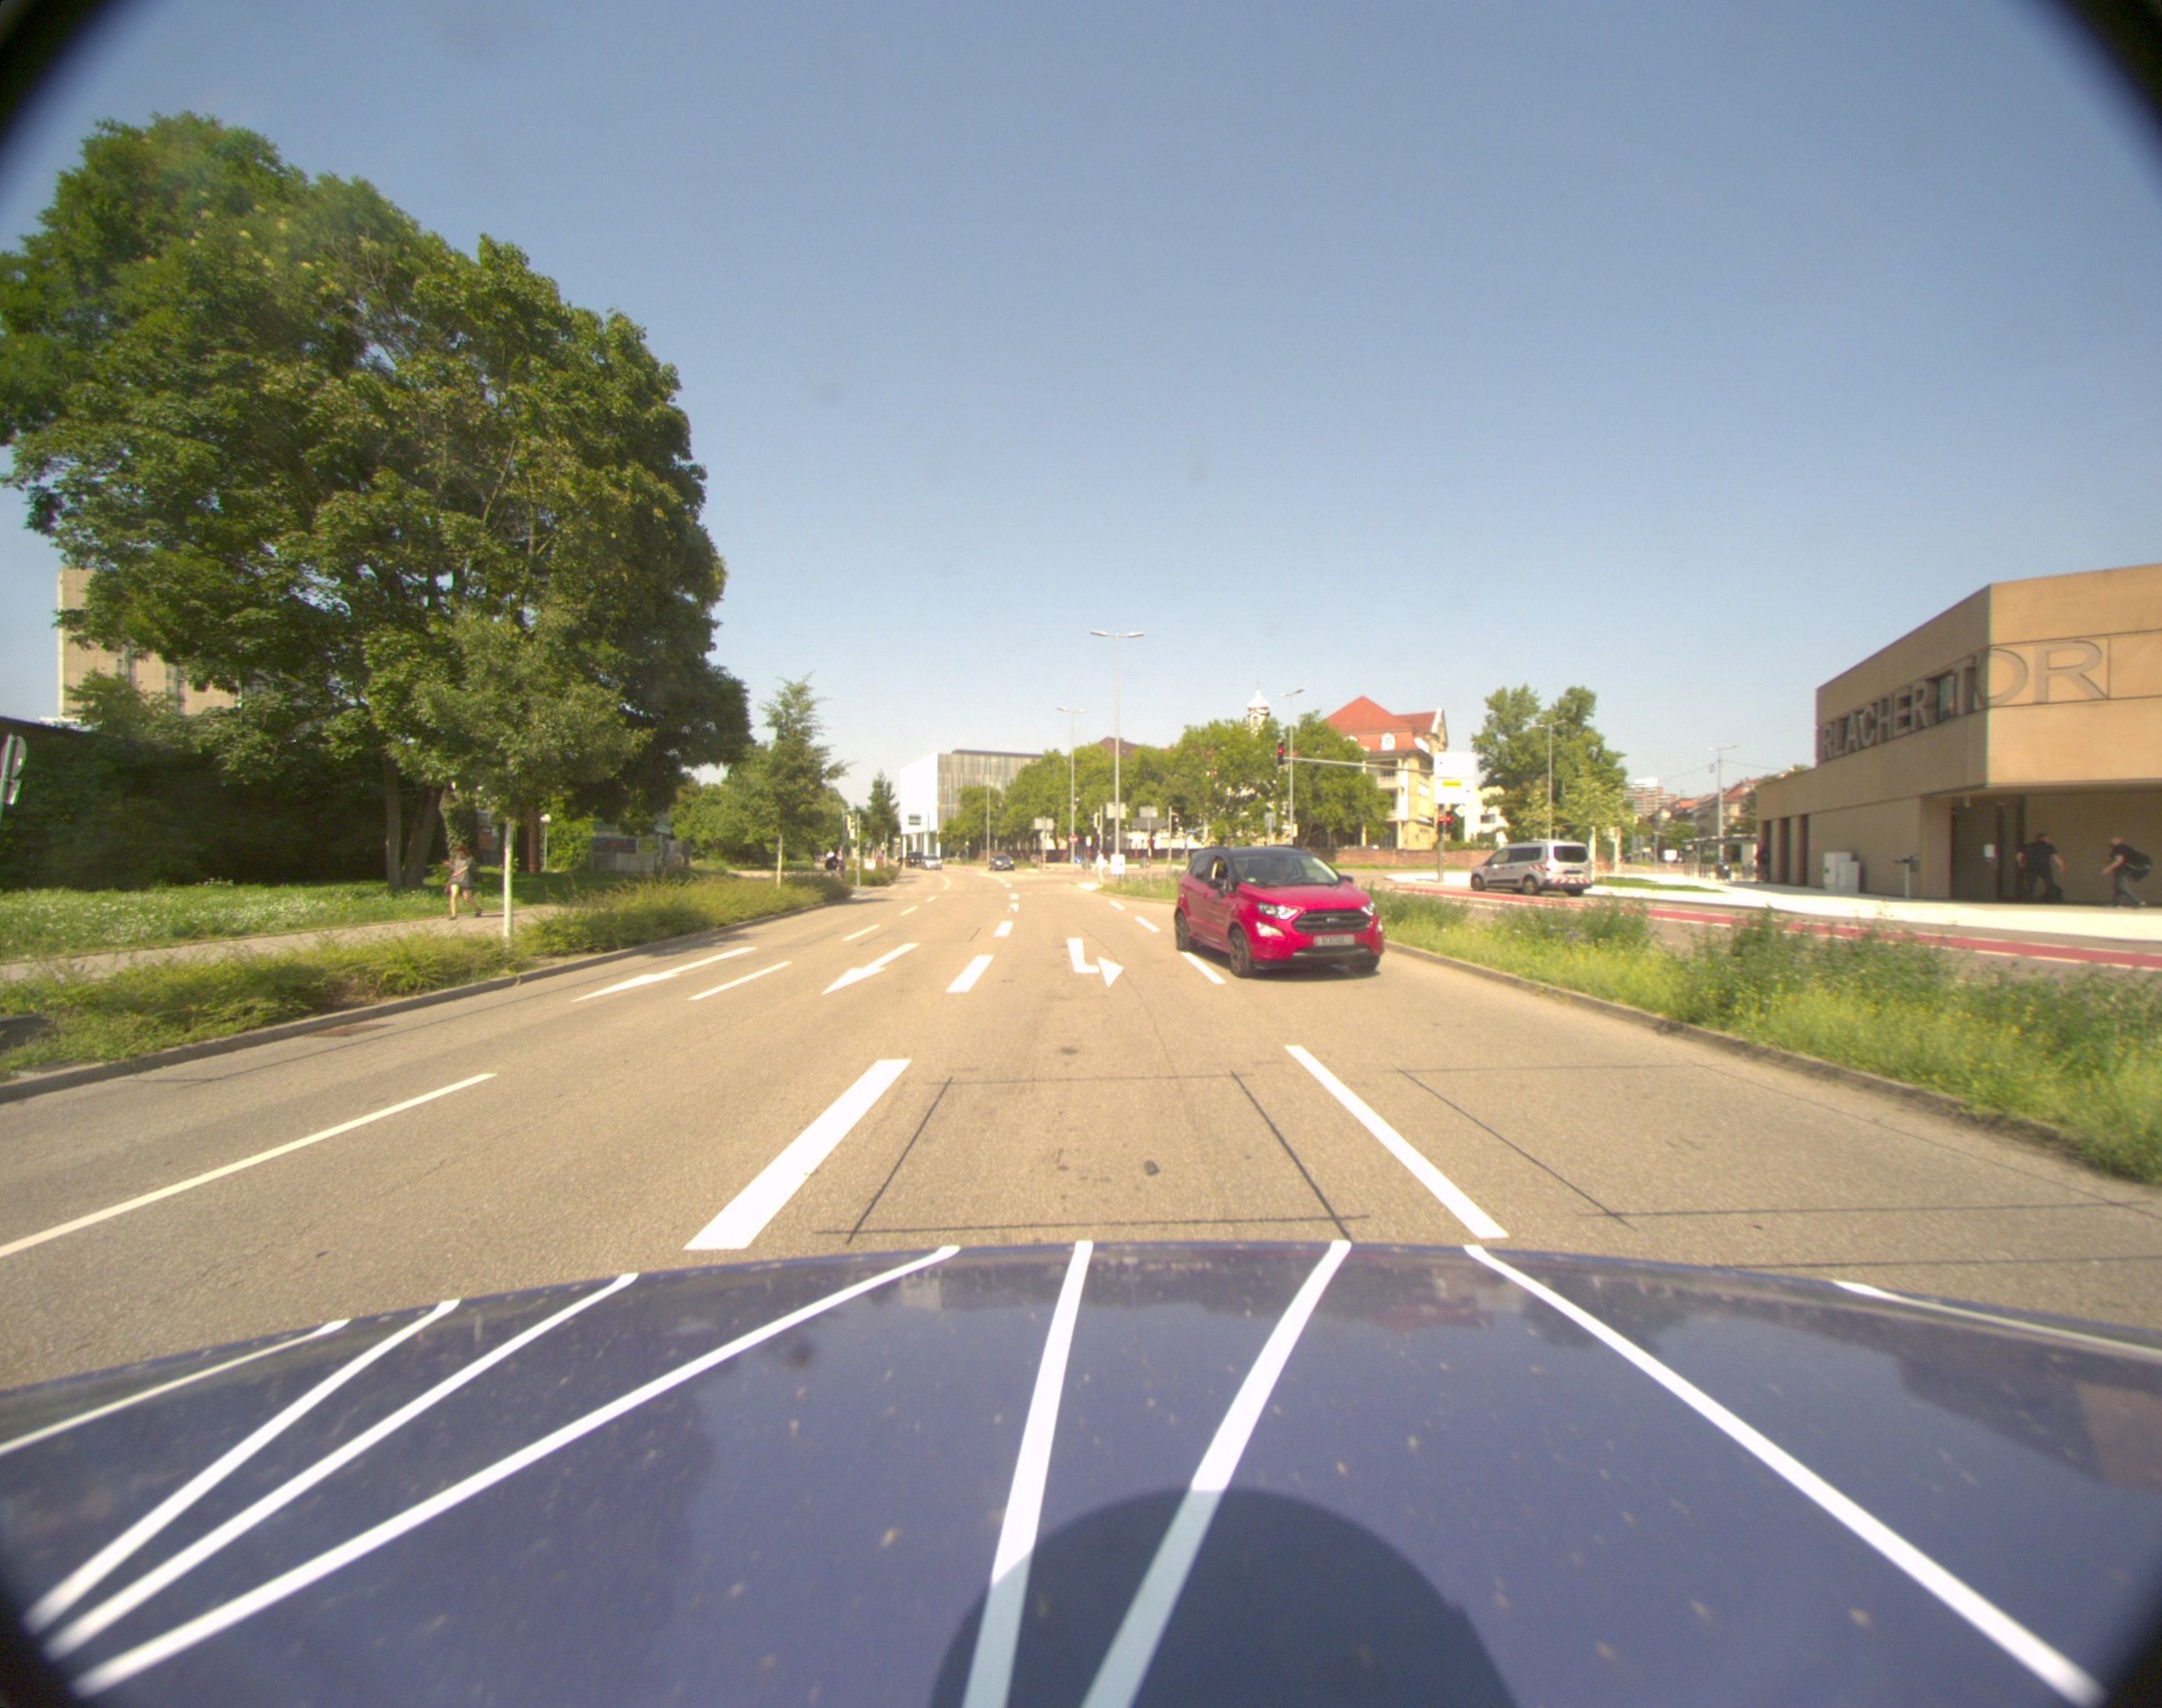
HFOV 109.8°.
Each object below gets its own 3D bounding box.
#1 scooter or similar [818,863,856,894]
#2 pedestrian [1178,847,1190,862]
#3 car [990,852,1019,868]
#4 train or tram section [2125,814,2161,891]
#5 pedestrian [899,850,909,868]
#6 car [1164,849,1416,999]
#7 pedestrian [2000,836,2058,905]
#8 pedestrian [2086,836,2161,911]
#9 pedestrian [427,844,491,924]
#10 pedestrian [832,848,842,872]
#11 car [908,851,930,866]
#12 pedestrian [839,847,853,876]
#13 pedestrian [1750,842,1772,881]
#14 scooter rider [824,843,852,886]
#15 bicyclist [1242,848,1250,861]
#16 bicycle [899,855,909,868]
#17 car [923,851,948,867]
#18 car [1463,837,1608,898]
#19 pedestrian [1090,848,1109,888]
[{"bbox_3d":[-9.880,0.983,30.769,1.365,1.227,0.586,1,1,17],"label":"scooter or similar"},{"bbox_3d":[13.896,0.114,102.419,1.074,2.002,1.231,0,1,-43],"label":"pedestrian"},{"bbox_3d":[-6.915,0.519,68.420,1.793,1.349,3.418,-2,1,-20],"label":"car"},{"bbox_3d":[50.700,-0.042,33.088,3.152,3.576,8.264,2,0,31],"label":"train or tram section"},{"bbox_3d":[-16.424,0.462,70.504,0.781,1.659,0.548,0,1,-19],"label":"pedestrian"},{"bbox_3d":[2.565,0.749,10.407,1.845,1.605,3.996,-1,1,-9],"label":"car"},{"bbox_3d":[23.633,0.392,18.945,0.633,1.679,0.745,0,1,-26],"label":"pedestrian"},{"bbox_3d":[24.172,0.445,17.604,0.646,1.693,0.809,0,1,-2],"label":"pedestrian"},{"bbox_3d":[-13.712,0.651,16.782,0.708,1.695,0.878,2,1,-7],"label":"pedestrian"},{"bbox_3d":[-18.176,0.429,56.681,0.694,1.761,0.586,0,1,-19],"label":"pedestrian"},{"bbox_3d":[-19.182,0.538,89.705,2.002,1.769,3.993,0,0,-20],"label":"car"},{"bbox_3d":[-14.541,0.465,47.053,0.794,1.758,0.825,0,1,-19],"label":"pedestrian"},{"bbox_3d":[29.225,0.328,32.658,0.567,1.668,0.537,1,1,31],"label":"pedestrian"},{"bbox_3d":[-9.847,0.410,30.809,0.803,1.729,0.689,1,1,17],"label":"scooter rider"},{"bbox_3d":[14.858,0.047,68.465,0.541,1.225,0.432,1,0,-26],"label":"bicyclist"},{"bbox_3d":[-16.467,0.685,70.633,0.787,1.205,1.786,0,1,-19],"label":"bicycle"},{"bbox_3d":[-15.003,0.482,78.268,2.002,1.669,3.993,0,0,-20],"label":"car"},{"bbox_3d":[15.436,0.408,26.124,2.000,1.849,4.331,2,0,-7],"label":"car"},{"bbox_3d":[0.793,0.583,32.145,0.699,1.685,0.608,1,1,9],"label":"pedestrian"}]
